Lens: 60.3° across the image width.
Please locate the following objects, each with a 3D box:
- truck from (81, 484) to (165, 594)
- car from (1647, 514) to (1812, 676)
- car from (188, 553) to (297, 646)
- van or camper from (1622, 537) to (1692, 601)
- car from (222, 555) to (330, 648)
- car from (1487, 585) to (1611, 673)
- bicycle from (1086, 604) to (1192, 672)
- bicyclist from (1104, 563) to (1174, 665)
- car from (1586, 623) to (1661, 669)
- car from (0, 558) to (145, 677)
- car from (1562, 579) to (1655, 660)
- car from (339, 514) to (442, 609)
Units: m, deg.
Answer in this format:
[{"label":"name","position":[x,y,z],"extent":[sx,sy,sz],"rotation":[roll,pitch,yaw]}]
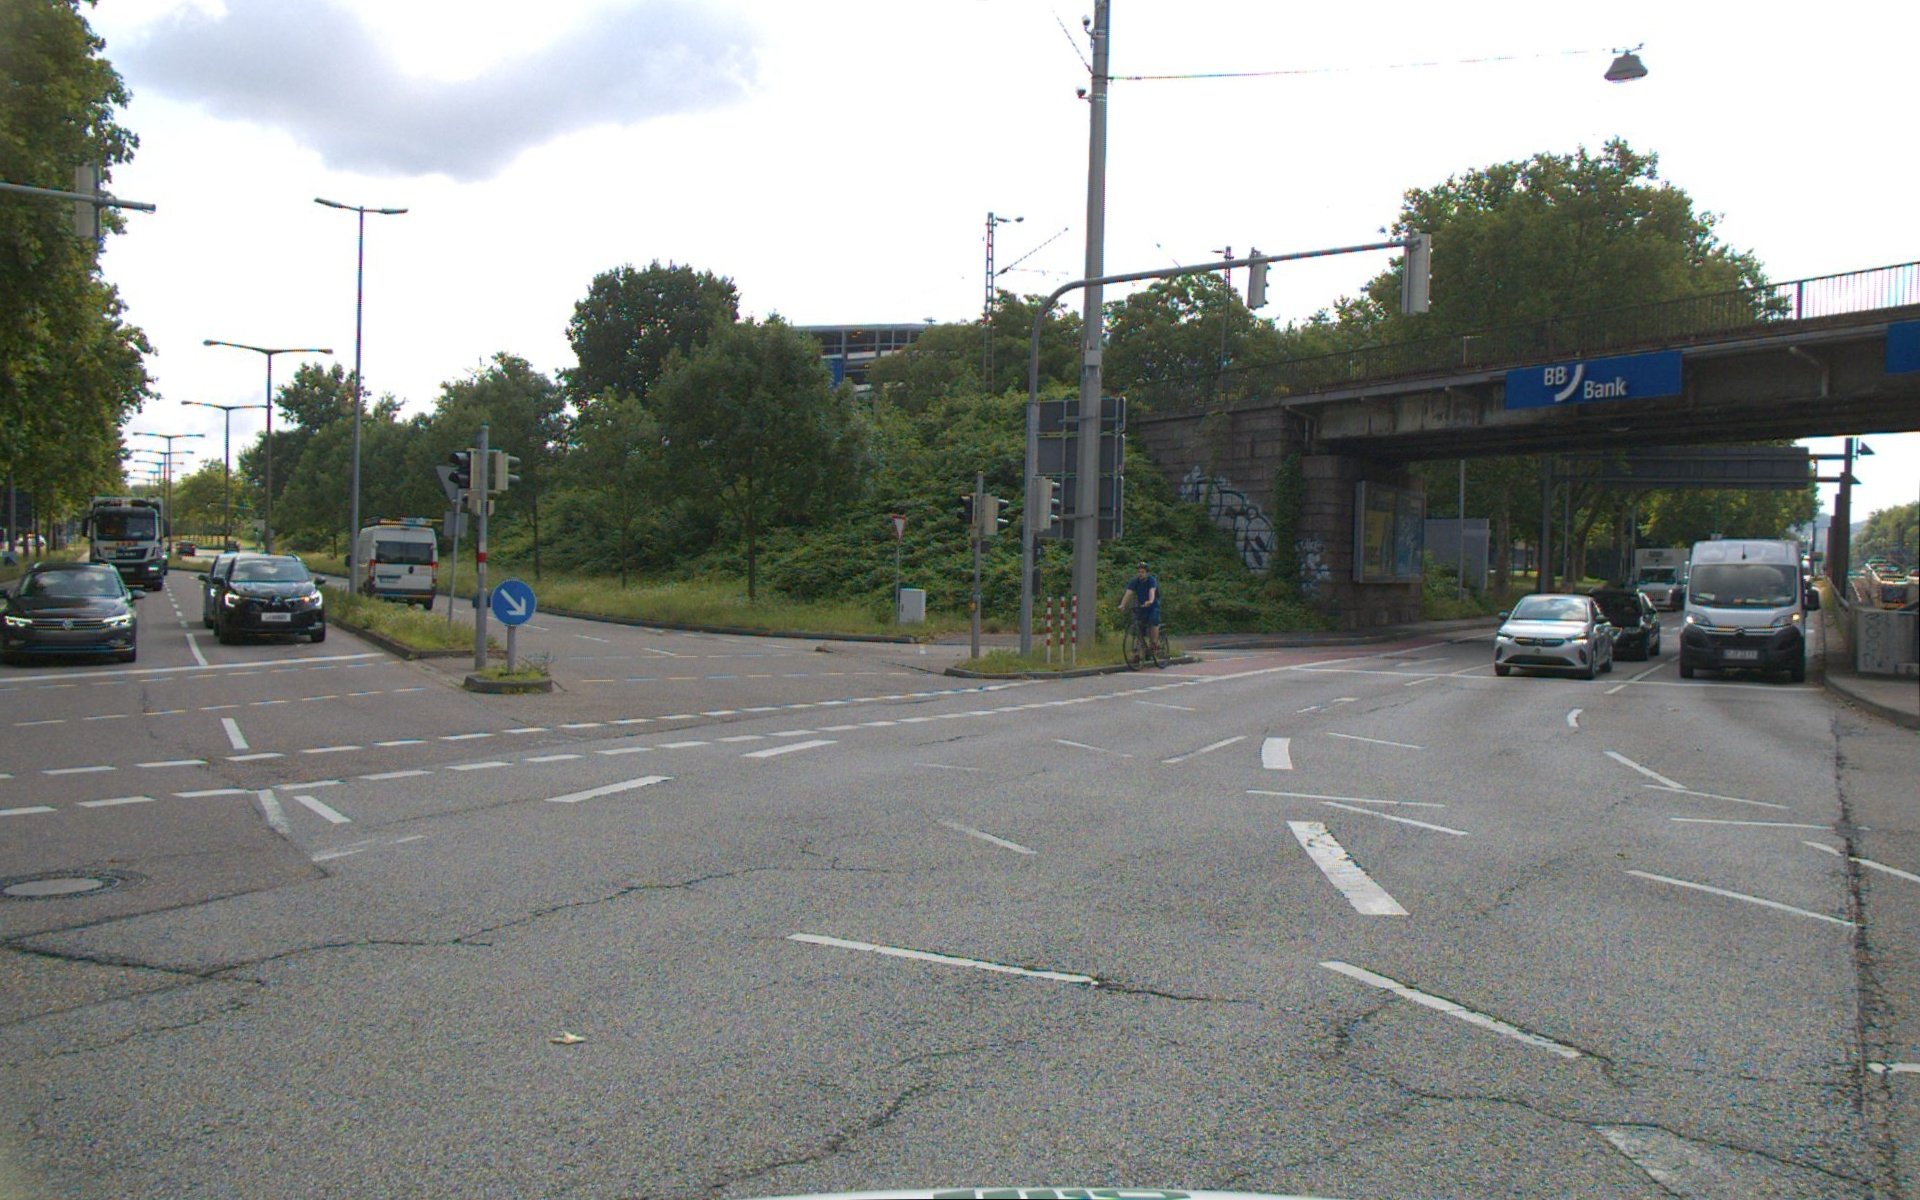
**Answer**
[{"label":"truck","position":[-32.579,-2.308,64.639],"extent":[2.617,3.955,10.076],"rotation":[-1,2,-26]},{"label":"car","position":[14.450,0.004,30.848],"extent":[2.215,2.570,5.616],"rotation":[-6,-4,28]},{"label":"car","position":[-16.085,0.026,36.985],"extent":[1.970,1.758,3.964],"rotation":[-1,-4,-27]},{"label":"van or camper","position":[36.249,-1.619,85.906],"extent":[2.607,3.134,5.737],"rotation":[-1,0,30]},{"label":"car","position":[-13.044,-0.028,31.419],"extent":[1.686,1.615,4.327],"rotation":[-1,2,-25]},{"label":"car","position":[10.880,0.568,30.406],"extent":[1.669,1.503,3.995],"rotation":[0,-2,27]},{"label":"bicycle","position":[3.156,0.645,29.030],"extent":[0.828,1.112,2.310],"rotation":[2,1,35]},{"label":"bicyclist","position":[3.144,0.247,29.045],"extent":[0.828,1.708,0.821],"rotation":[-6,-4,35]},{"label":"car","position":[25.619,1.780,63.788],"extent":[1.957,1.635,3.990],"rotation":[-5,-4,31]},{"label":"car","position":[-13.882,0.191,25.940],"extent":[1.841,1.601,4.533],"rotation":[-1,3,-25]},{"label":"car","position":[14.654,0.494,37.252],"extent":[1.729,1.611,4.661],"rotation":[-3,-3,23]},{"label":"car","position":[-17.810,-1.259,51.598],"extent":[2.174,2.773,4.884],"rotation":[0,3,-30]}]
